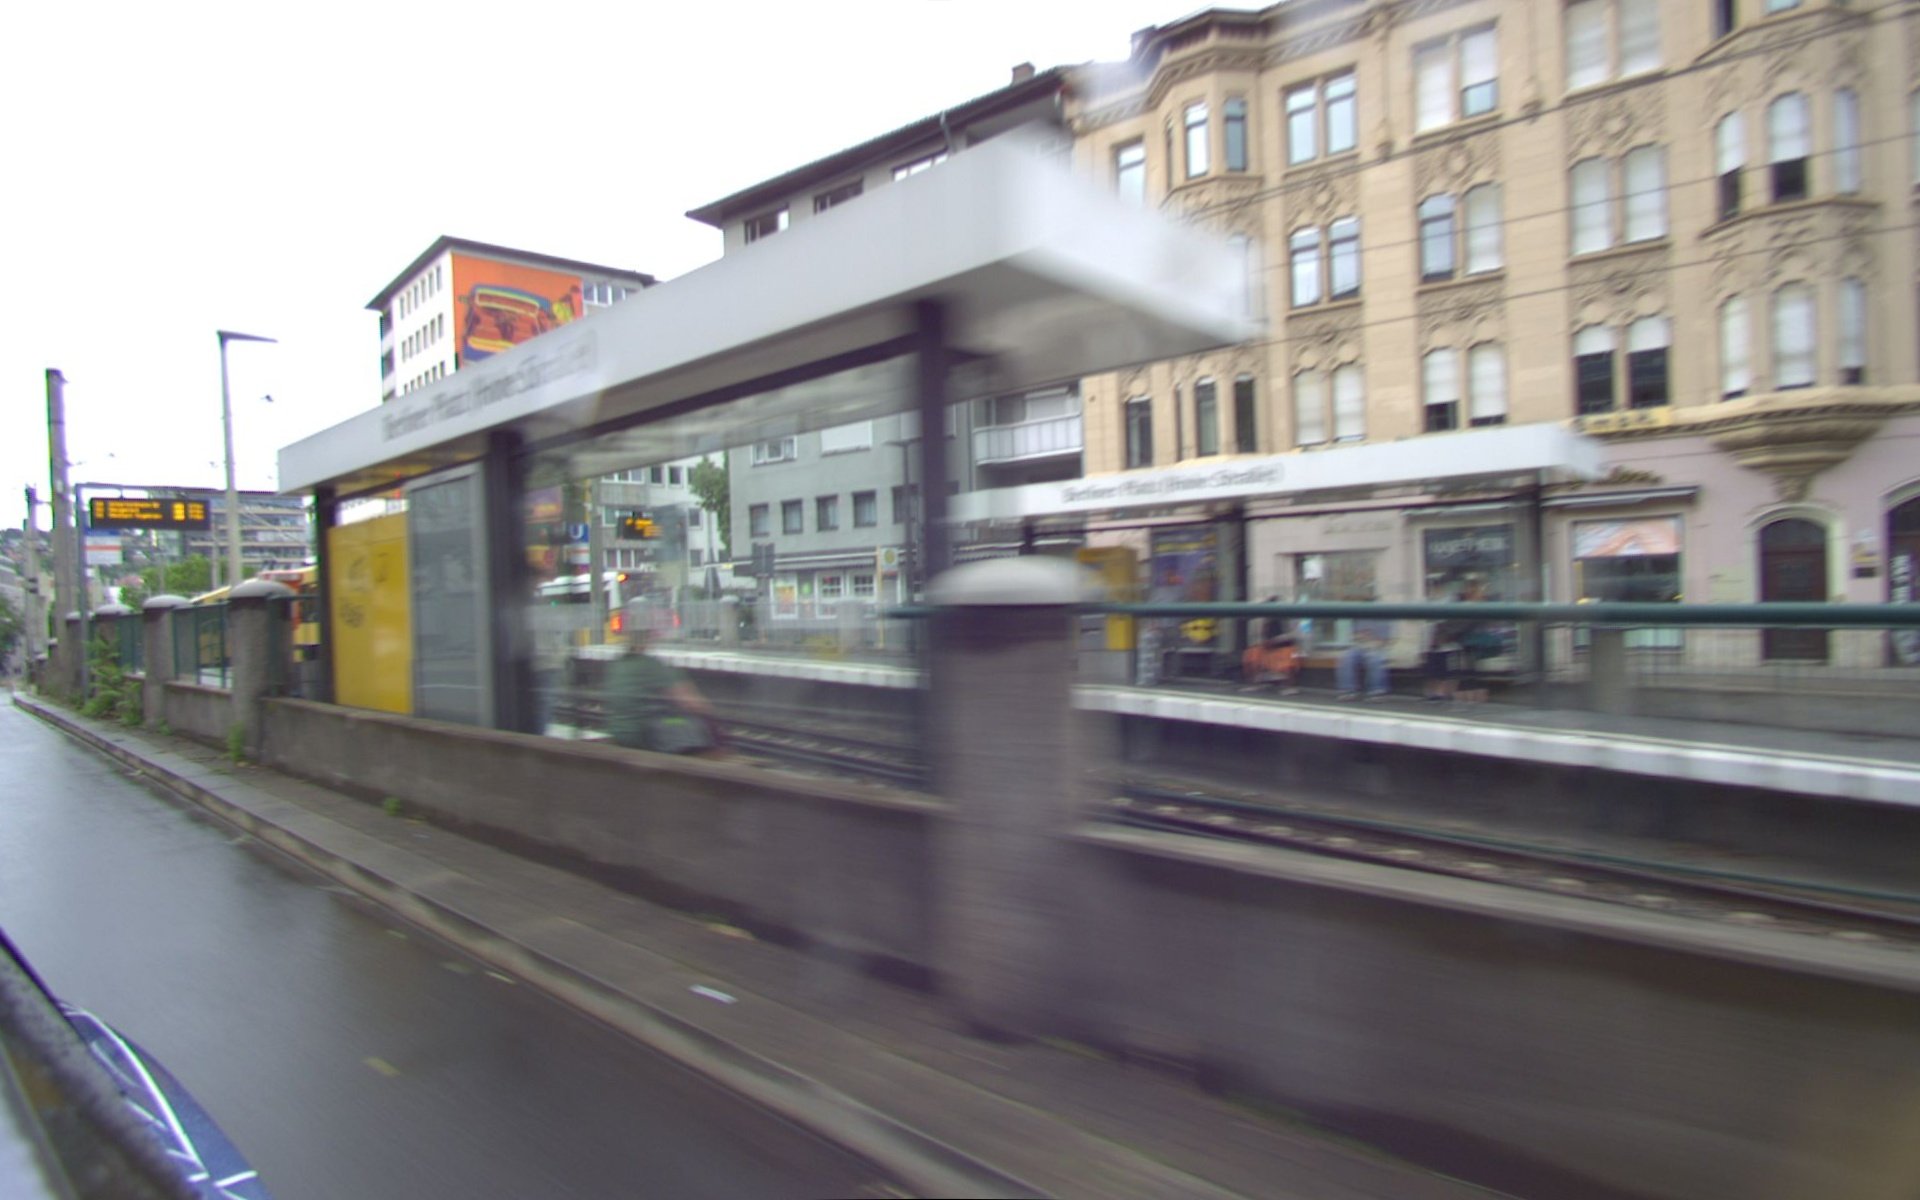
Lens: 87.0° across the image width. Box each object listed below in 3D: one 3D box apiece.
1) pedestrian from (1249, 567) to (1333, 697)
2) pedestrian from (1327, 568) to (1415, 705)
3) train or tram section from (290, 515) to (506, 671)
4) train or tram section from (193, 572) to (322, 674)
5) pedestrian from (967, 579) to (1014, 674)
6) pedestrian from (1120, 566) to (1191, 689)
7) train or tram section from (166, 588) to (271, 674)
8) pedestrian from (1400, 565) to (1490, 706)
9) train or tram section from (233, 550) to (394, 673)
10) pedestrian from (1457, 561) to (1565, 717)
[{"bbox_3d":[4.430,0.436,13.545,0.762,1.661,0.778,6,-6,-43],"label":"pedestrian"},{"bbox_3d":[5.212,0.475,12.823,0.762,1.661,0.778,6,-6,-43],"label":"pedestrian"},{"bbox_3d":[-16.204,0.012,28.701,2.747,3.719,9.720,-3,-1,-44],"label":"train or tram section"},{"bbox_3d":[-29.560,1.087,42.374,2.747,3.719,9.516,-3,-1,-44],"label":"train or tram section"},{"bbox_3d":[0.513,0.429,16.857,0.517,1.549,0.551,-2,-1,43],"label":"pedestrian"},{"bbox_3d":[2.737,0.375,14.169,0.625,1.673,0.683,-2,-1,-44],"label":"pedestrian"},{"bbox_3d":[-36.005,1.605,48.983,2.747,3.719,8.980,-3,-1,-44],"label":"train or tram section"},{"bbox_3d":[5.965,0.450,12.445,0.762,1.661,0.778,6,-6,-43],"label":"pedestrian"},{"bbox_3d":[-22.911,0.549,35.565,2.747,3.719,9.516,-3,-1,-44],"label":"train or tram section"},{"bbox_3d":[6.169,0.450,11.338,0.669,1.661,0.896,6,-5,-43],"label":"pedestrian"}]
